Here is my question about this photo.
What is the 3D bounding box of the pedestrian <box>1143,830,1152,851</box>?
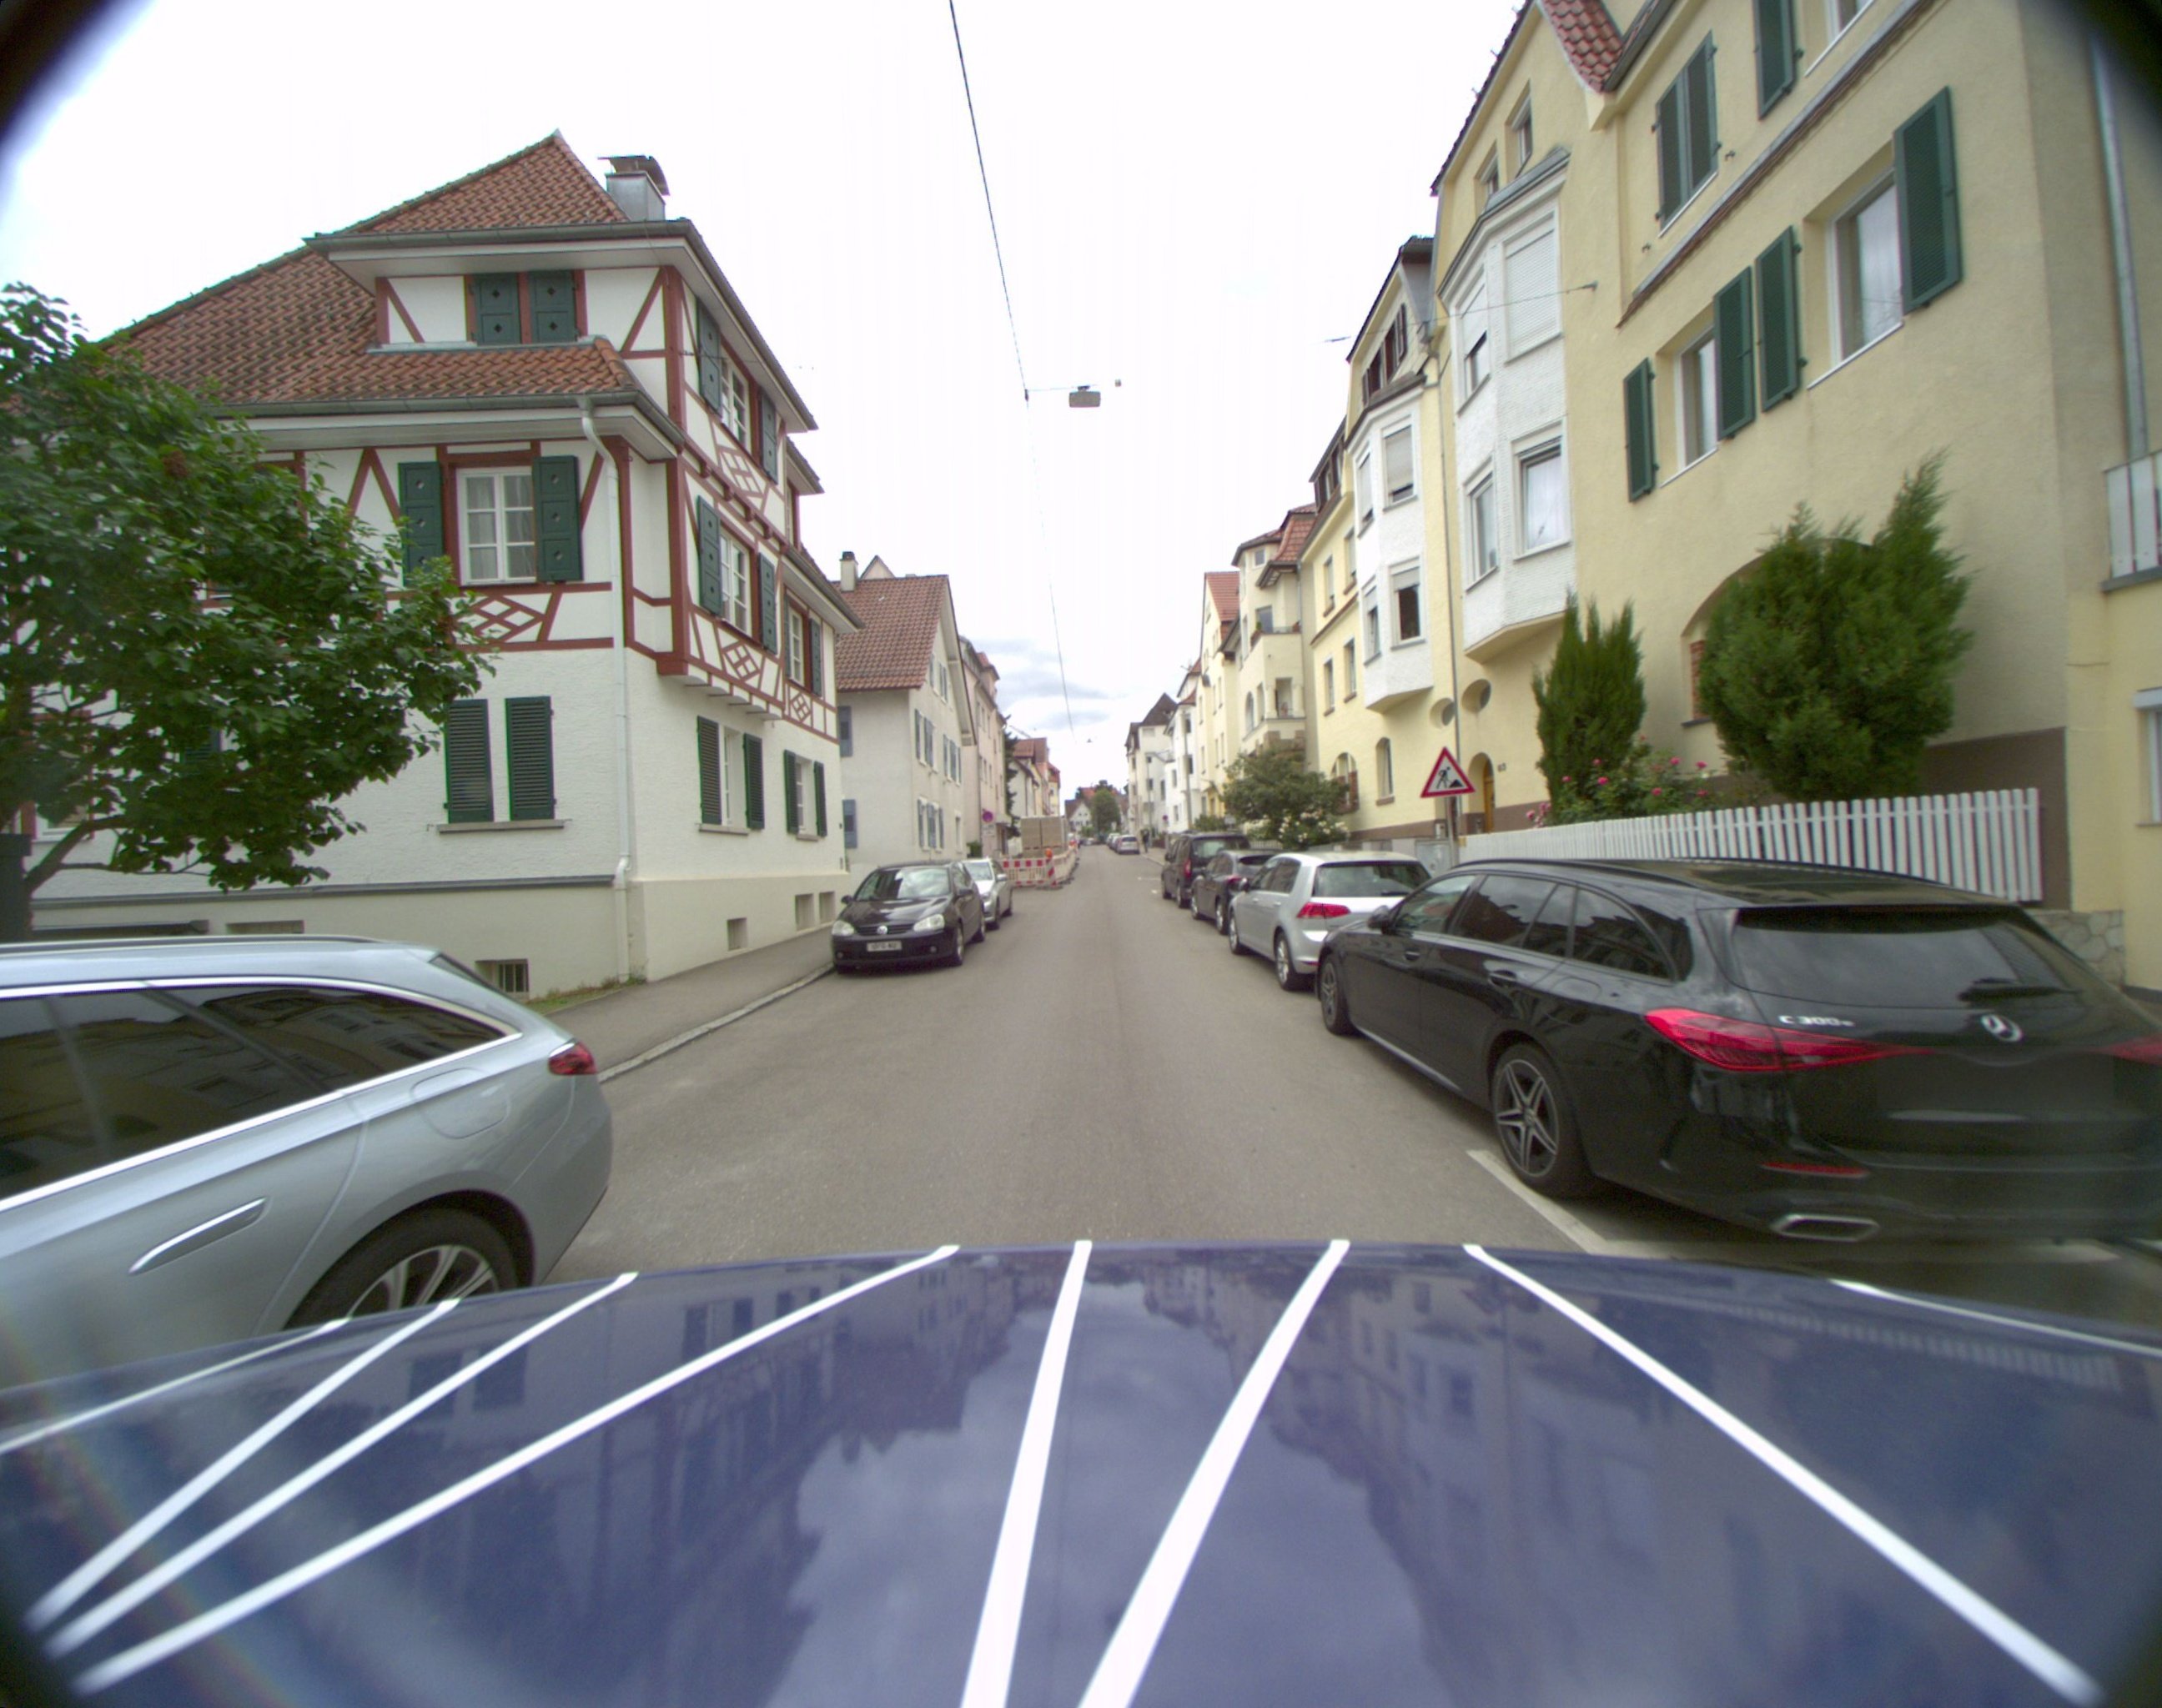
[{"bbox_3d":[5.481,-1.134,62.716,0.617,1.647,0.812,-4,1,2],"label":"pedestrian"}]

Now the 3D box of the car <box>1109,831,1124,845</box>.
[{"bbox_3d":[4.465,-2.052,95.454,1.782,1.558,3.999,-2,2,2],"label":"car"}]

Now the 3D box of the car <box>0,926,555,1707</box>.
[{"bbox_3d":[-2.718,1.029,0.255,1.829,1.436,4.383,-3,1,2],"label":"car"}]

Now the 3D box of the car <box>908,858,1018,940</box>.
[{"bbox_3d":[-2.393,0.859,16.447,1.629,1.385,4.235,-4,1,0],"label":"car"}]

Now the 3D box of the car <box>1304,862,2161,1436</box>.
[{"bbox_3d":[2.789,0.865,4.304,1.807,1.472,4.328,-2,1,1],"label":"car"}]

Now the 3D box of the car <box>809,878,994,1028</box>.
[{"bbox_3d":[-2.439,1.280,11.381,1.781,1.710,4.000,-3,-1,-1],"label":"car"}]

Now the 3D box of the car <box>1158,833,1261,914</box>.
[{"bbox_3d":[3.115,0.379,19.210,1.753,1.787,4.147,-1,2,-1],"label":"car"}]

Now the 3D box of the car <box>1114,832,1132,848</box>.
[{"bbox_3d":[4.345,-1.475,79.176,1.782,1.558,3.999,-2,2,2],"label":"car"}]

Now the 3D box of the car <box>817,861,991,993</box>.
[{"bbox_3d":[-2.506,0.961,11.742,1.609,1.481,4.022,-4,1,1],"label":"car"}]

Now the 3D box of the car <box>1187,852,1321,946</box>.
[{"bbox_3d":[2.996,0.710,13.895,1.643,1.391,3.702,0,2,1],"label":"car"}]

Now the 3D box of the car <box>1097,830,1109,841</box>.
[{"bbox_3d":[3.616,-3.004,122.726,1.782,1.558,3.999,-3,2,2],"label":"car"}]

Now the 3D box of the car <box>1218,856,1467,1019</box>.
[{"bbox_3d":[2.856,0.802,9.258,1.643,1.420,4.122,-1,1,1],"label":"car"}]

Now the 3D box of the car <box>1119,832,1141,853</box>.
[{"bbox_3d":[4.043,-0.990,63.329,1.663,1.558,3.999,-2,2,2],"label":"car"}]
